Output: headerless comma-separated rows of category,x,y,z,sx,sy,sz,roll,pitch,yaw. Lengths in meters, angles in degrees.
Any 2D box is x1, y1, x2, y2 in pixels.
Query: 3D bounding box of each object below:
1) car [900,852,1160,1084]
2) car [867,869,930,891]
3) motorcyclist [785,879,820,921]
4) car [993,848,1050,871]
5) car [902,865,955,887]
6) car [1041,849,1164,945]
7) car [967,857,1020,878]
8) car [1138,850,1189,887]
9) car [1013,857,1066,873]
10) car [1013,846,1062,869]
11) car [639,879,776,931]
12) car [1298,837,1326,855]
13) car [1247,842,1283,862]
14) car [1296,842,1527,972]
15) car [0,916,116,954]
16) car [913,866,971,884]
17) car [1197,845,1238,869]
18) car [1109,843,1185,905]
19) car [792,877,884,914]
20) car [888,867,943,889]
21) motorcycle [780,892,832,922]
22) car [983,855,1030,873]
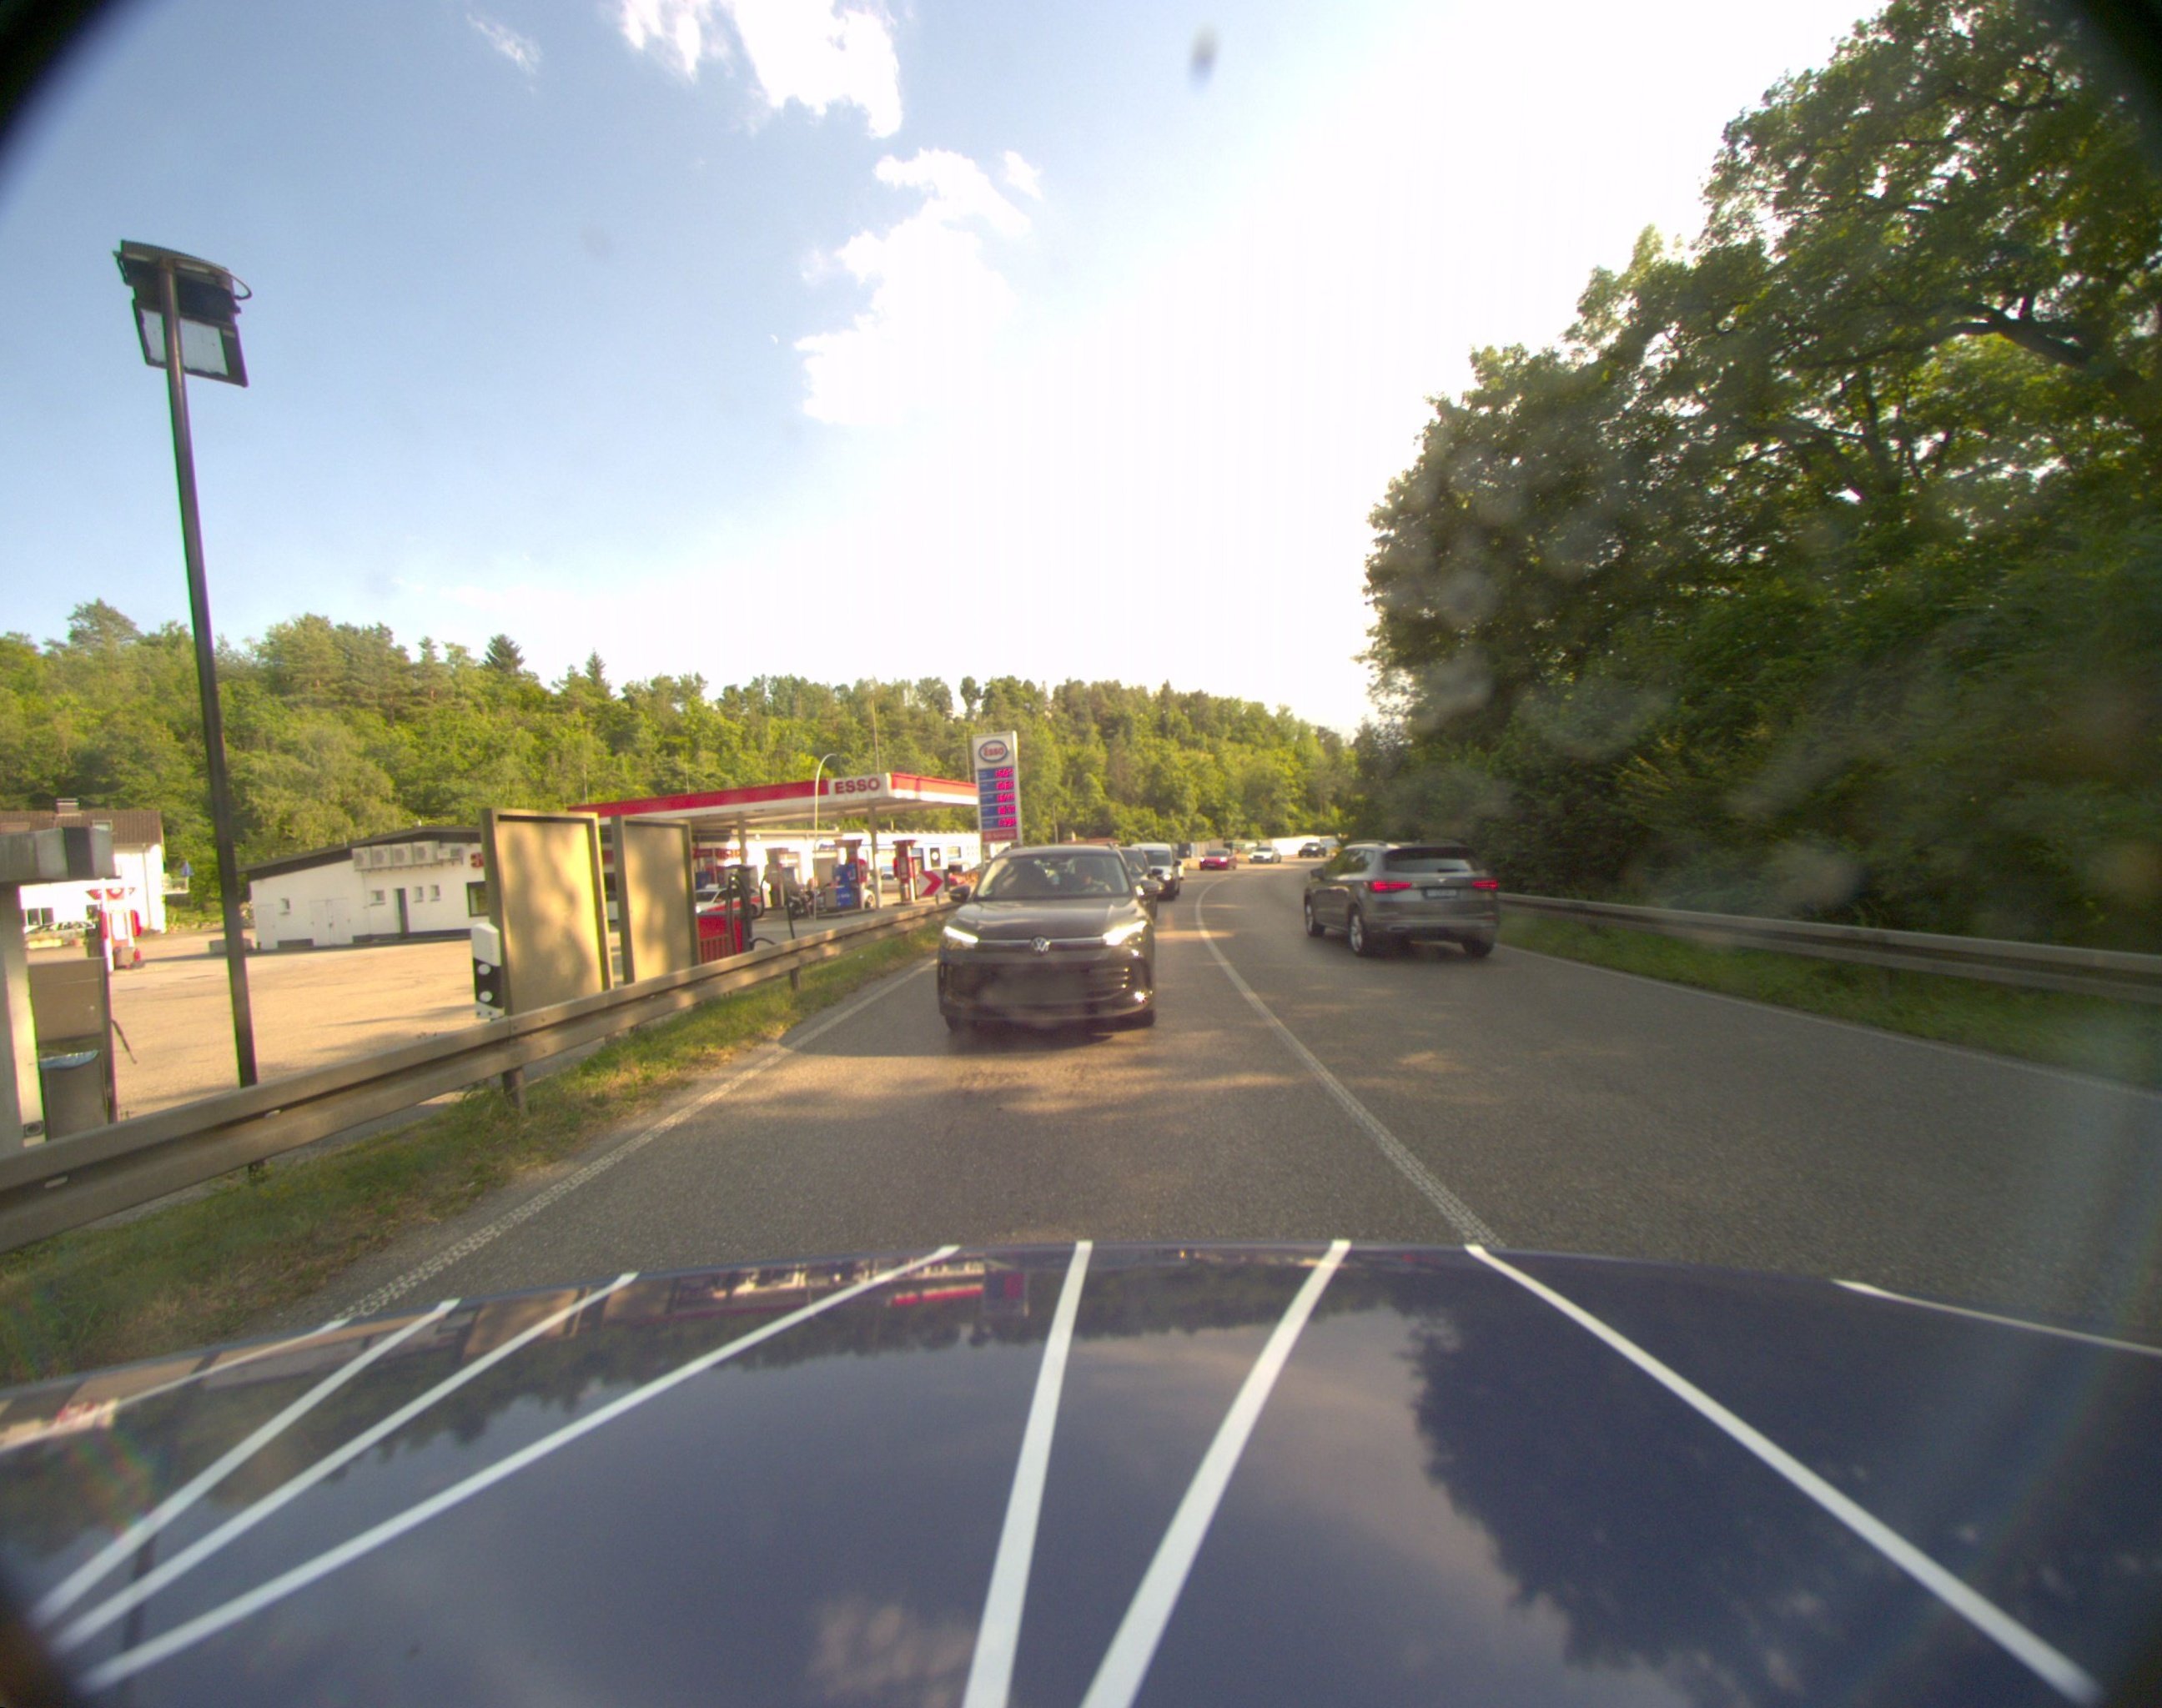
car,-0.216,0.843,7.809,1.859,1.630,4.442,-2,0,4
car,-12.912,1.854,53.839,3.963,1.347,1.778,-2,1,11
motorcyclist,-11.352,1.859,30.957,0.859,1.595,0.928,-3,1,14
car,-6.312,0.572,81.070,5.481,2.261,2.297,-1,1,15
car,-11.719,1.677,58.485,3.549,1.437,1.735,-3,1,15
car,0.590,0.736,15.191,1.847,1.561,4.259,-2,1,9
car,-7.768,1.185,67.774,4.254,1.719,1.893,-1,1,12
car,3.970,0.632,35.834,1.895,1.437,4.479,-4,0,12
car,-3.988,1.084,73.515,4.727,1.426,1.959,-1,1,13
car,-4.846,0.399,84.629,4.915,2.435,2.209,-2,1,13
car,-15.081,2.015,31.083,2.095,1.618,5.185,-3,0,14
car,24.469,-0.859,80.487,1.856,1.587,4.544,-4,0,29
car,15.725,-0.194,64.694,1.912,1.457,4.544,-4,0,27
car,4.650,0.680,11.407,1.872,1.555,4.001,-2,-1,3
car,-65.105,5.110,47.845,2.694,1.826,5.175,-4,0,41
car,-11.059,1.675,60.515,4.072,1.340,1.896,-1,1,15
car,9.281,0.198,51.358,1.856,1.412,4.425,-1,1,22
car,2.274,0.566,24.808,1.866,1.711,4.766,-1,2,12
car,-10.990,1.865,34.733,1.845,1.311,4.394,-3,0,15
car,-12.275,1.803,56.328,3.555,1.398,1.692,-3,1,15
motorcycle,-11.266,2.159,31.193,0.763,1.006,2.343,-3,1,14
car,-7.525,1.004,76.465,4.246,1.601,1.896,-2,1,15
